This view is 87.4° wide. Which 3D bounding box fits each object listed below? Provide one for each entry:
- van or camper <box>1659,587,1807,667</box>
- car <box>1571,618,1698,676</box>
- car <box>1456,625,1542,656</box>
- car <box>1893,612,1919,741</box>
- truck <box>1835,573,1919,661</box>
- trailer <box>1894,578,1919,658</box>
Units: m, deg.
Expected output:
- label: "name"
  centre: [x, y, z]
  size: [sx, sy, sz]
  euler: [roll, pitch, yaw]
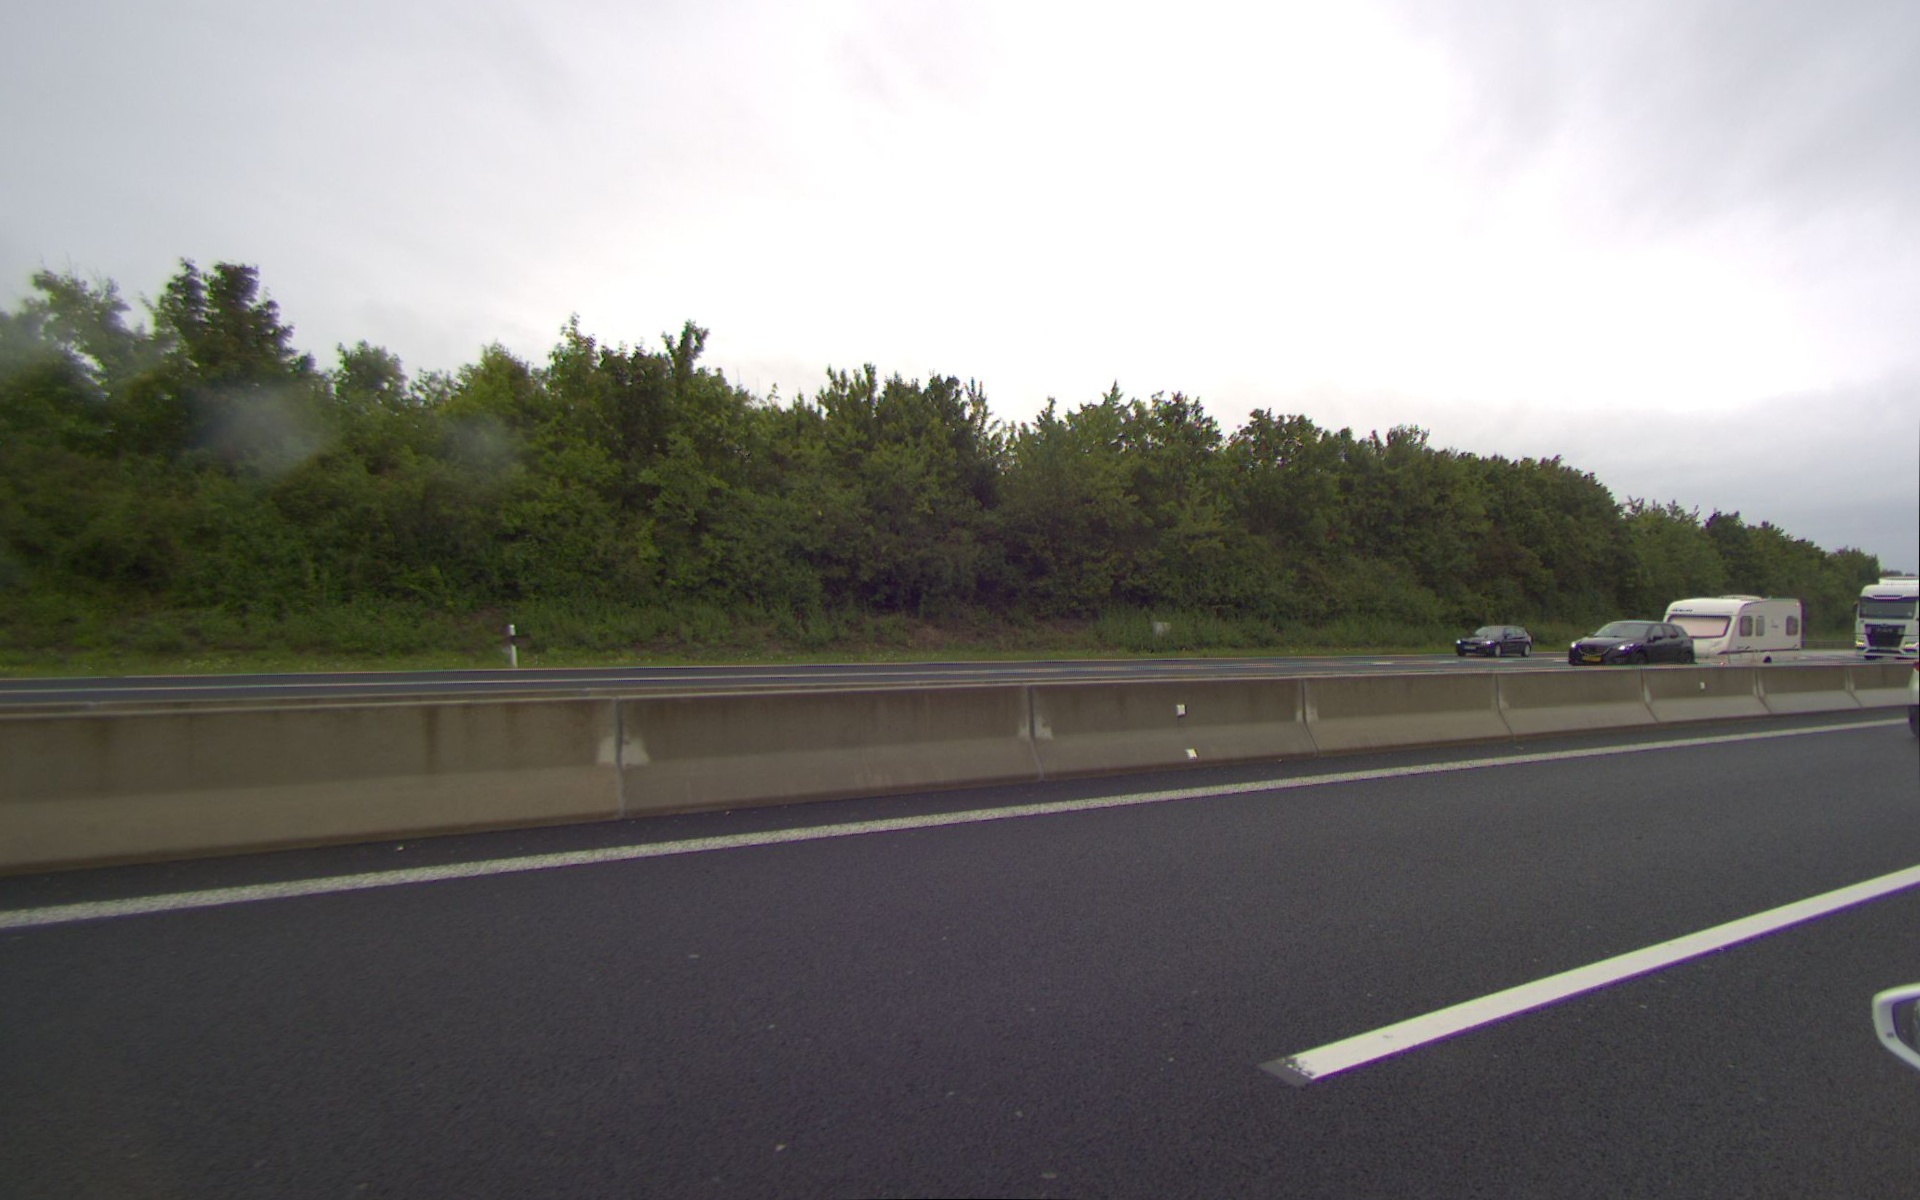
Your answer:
- label: "van or camper"
  centre: [25.799, 0.910, 33.466]
  size: [5.477, 2.502, 1.788]
  euler: [1, -1, -28]
- label: "car"
  centre: [20.567, 1.391, 30.565]
  size: [4.337, 1.642, 1.520]
  euler: [1, -1, -31]
- label: "car"
  centre: [24.479, 1.835, 45.601]
  size: [3.877, 1.311, 1.680]
  euler: [1, -1, -31]
- label: "car"
  centre: [14.629, 1.040, 13.460]
  size: [4.449, 1.661, 1.966]
  euler: [2, -1, -31]
- label: "truck"
  centre: [47.843, 0.874, 50.601]
  size: [7.347, 4.138, 3.247]
  euler: [1, -1, -28]
- label: "trailer"
  centre: [56.457, 1.066, 55.184]
  size: [13.670, 4.138, 3.247]
  euler: [1, -1, -28]
